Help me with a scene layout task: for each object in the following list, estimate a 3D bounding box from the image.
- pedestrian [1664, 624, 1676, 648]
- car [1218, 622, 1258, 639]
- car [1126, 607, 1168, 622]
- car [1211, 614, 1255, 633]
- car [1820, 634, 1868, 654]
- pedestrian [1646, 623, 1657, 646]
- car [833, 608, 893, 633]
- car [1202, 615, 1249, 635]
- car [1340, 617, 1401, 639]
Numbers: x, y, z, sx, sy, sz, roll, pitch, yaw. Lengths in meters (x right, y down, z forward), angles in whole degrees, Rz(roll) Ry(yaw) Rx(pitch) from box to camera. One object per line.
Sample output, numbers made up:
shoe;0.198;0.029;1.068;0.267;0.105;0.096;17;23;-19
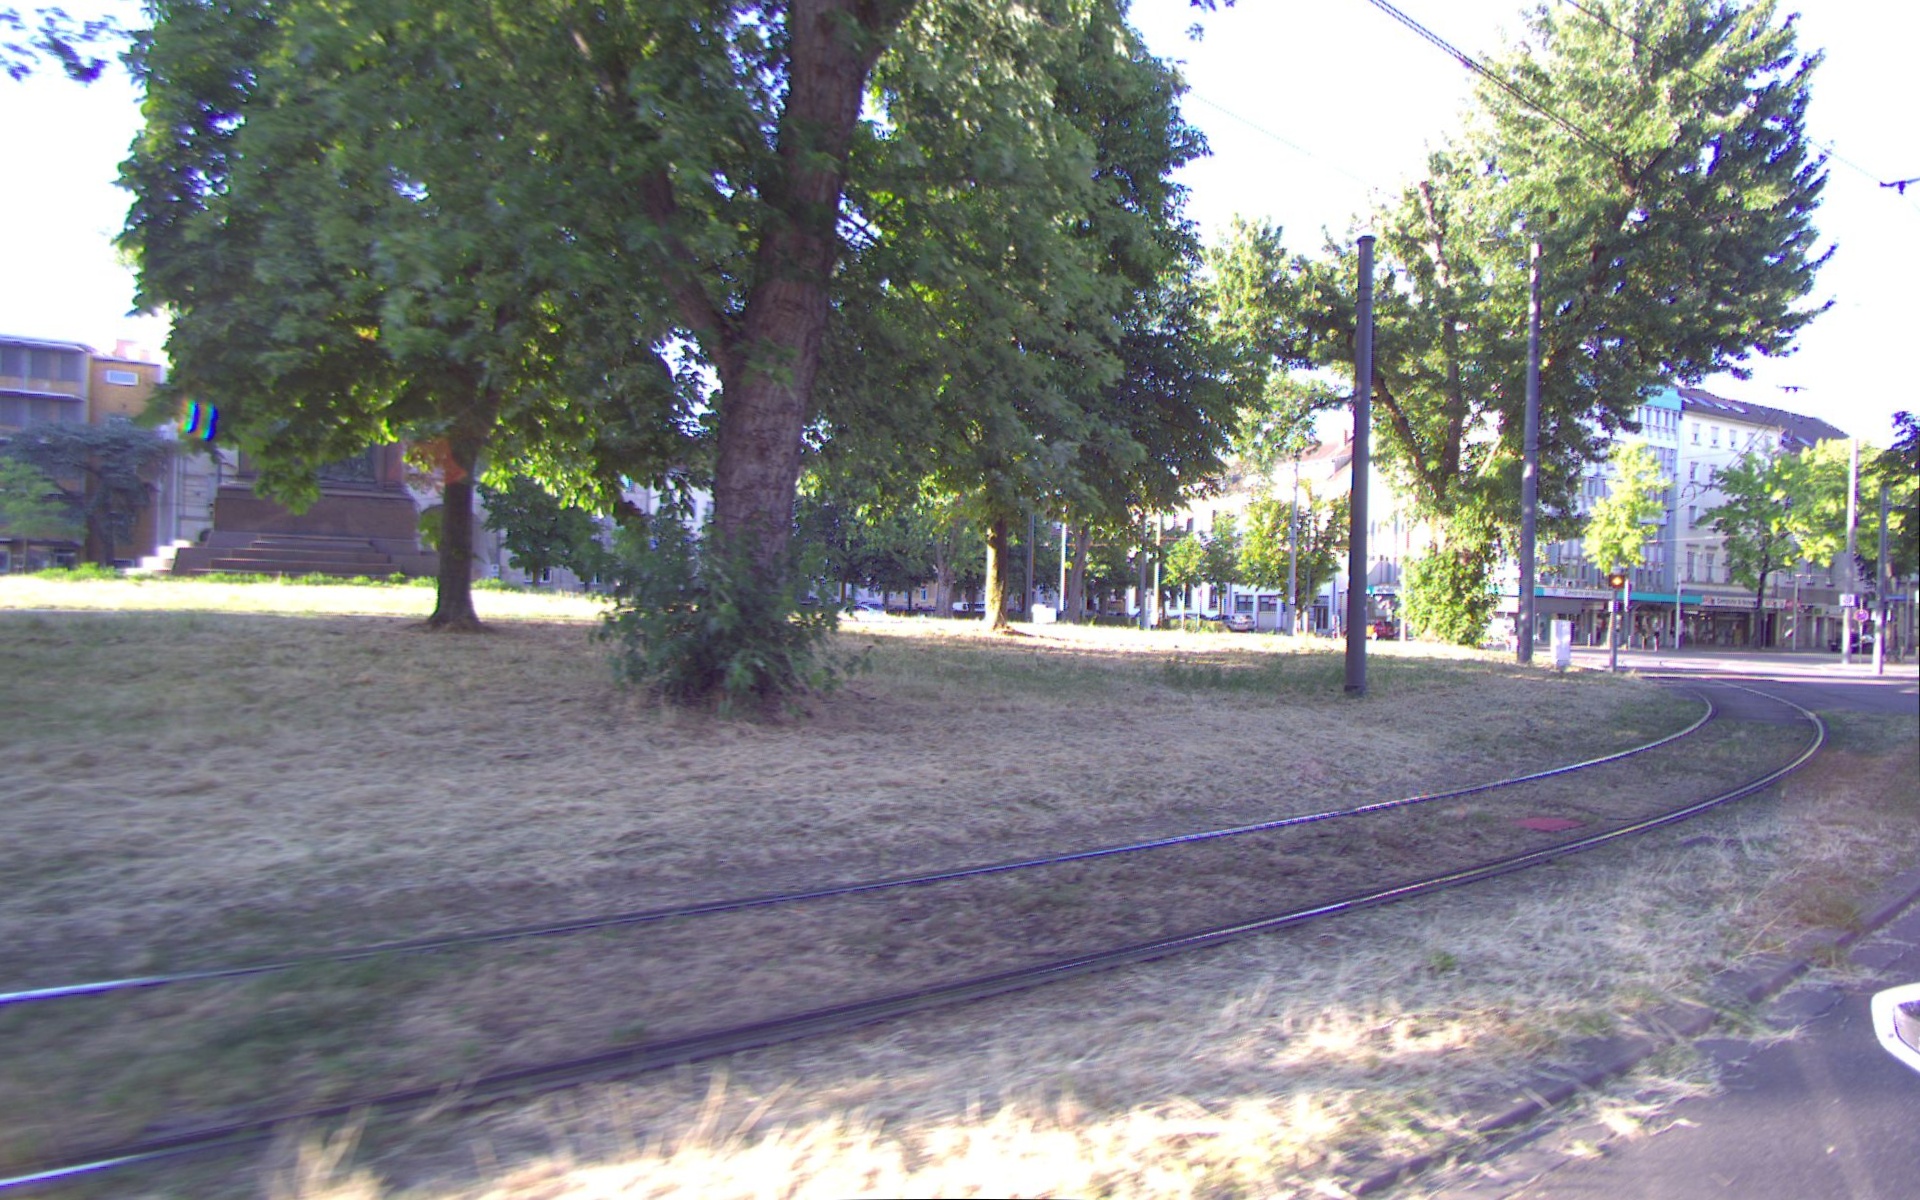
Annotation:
pedestrian;53.067;2.680;75.118;0.534;1.723;0.477;2;1;-25
car;24.617;2.693;89.078;1.509;1.314;3.381;2;0;-25
car;17.284;1.331;93.089;1.586;1.272;3.930;2;1;-33
car;24.097;2.044;88.838;1.581;1.461;3.701;2;0;-31
car;72.383;3.575;82.224;3.576;1.496;1.651;2;0;-26
pedestrian;52.465;2.639;76.202;0.534;1.723;0.477;2;1;-25
car;-6.536;1.376;68.021;3.876;1.483;1.593;2;0;1
car;22.051;2.061;83.423;1.581;1.461;3.702;2;0;-30
car;30.924;2.102;75.816;1.973;1.483;3.976;2;0;-24
